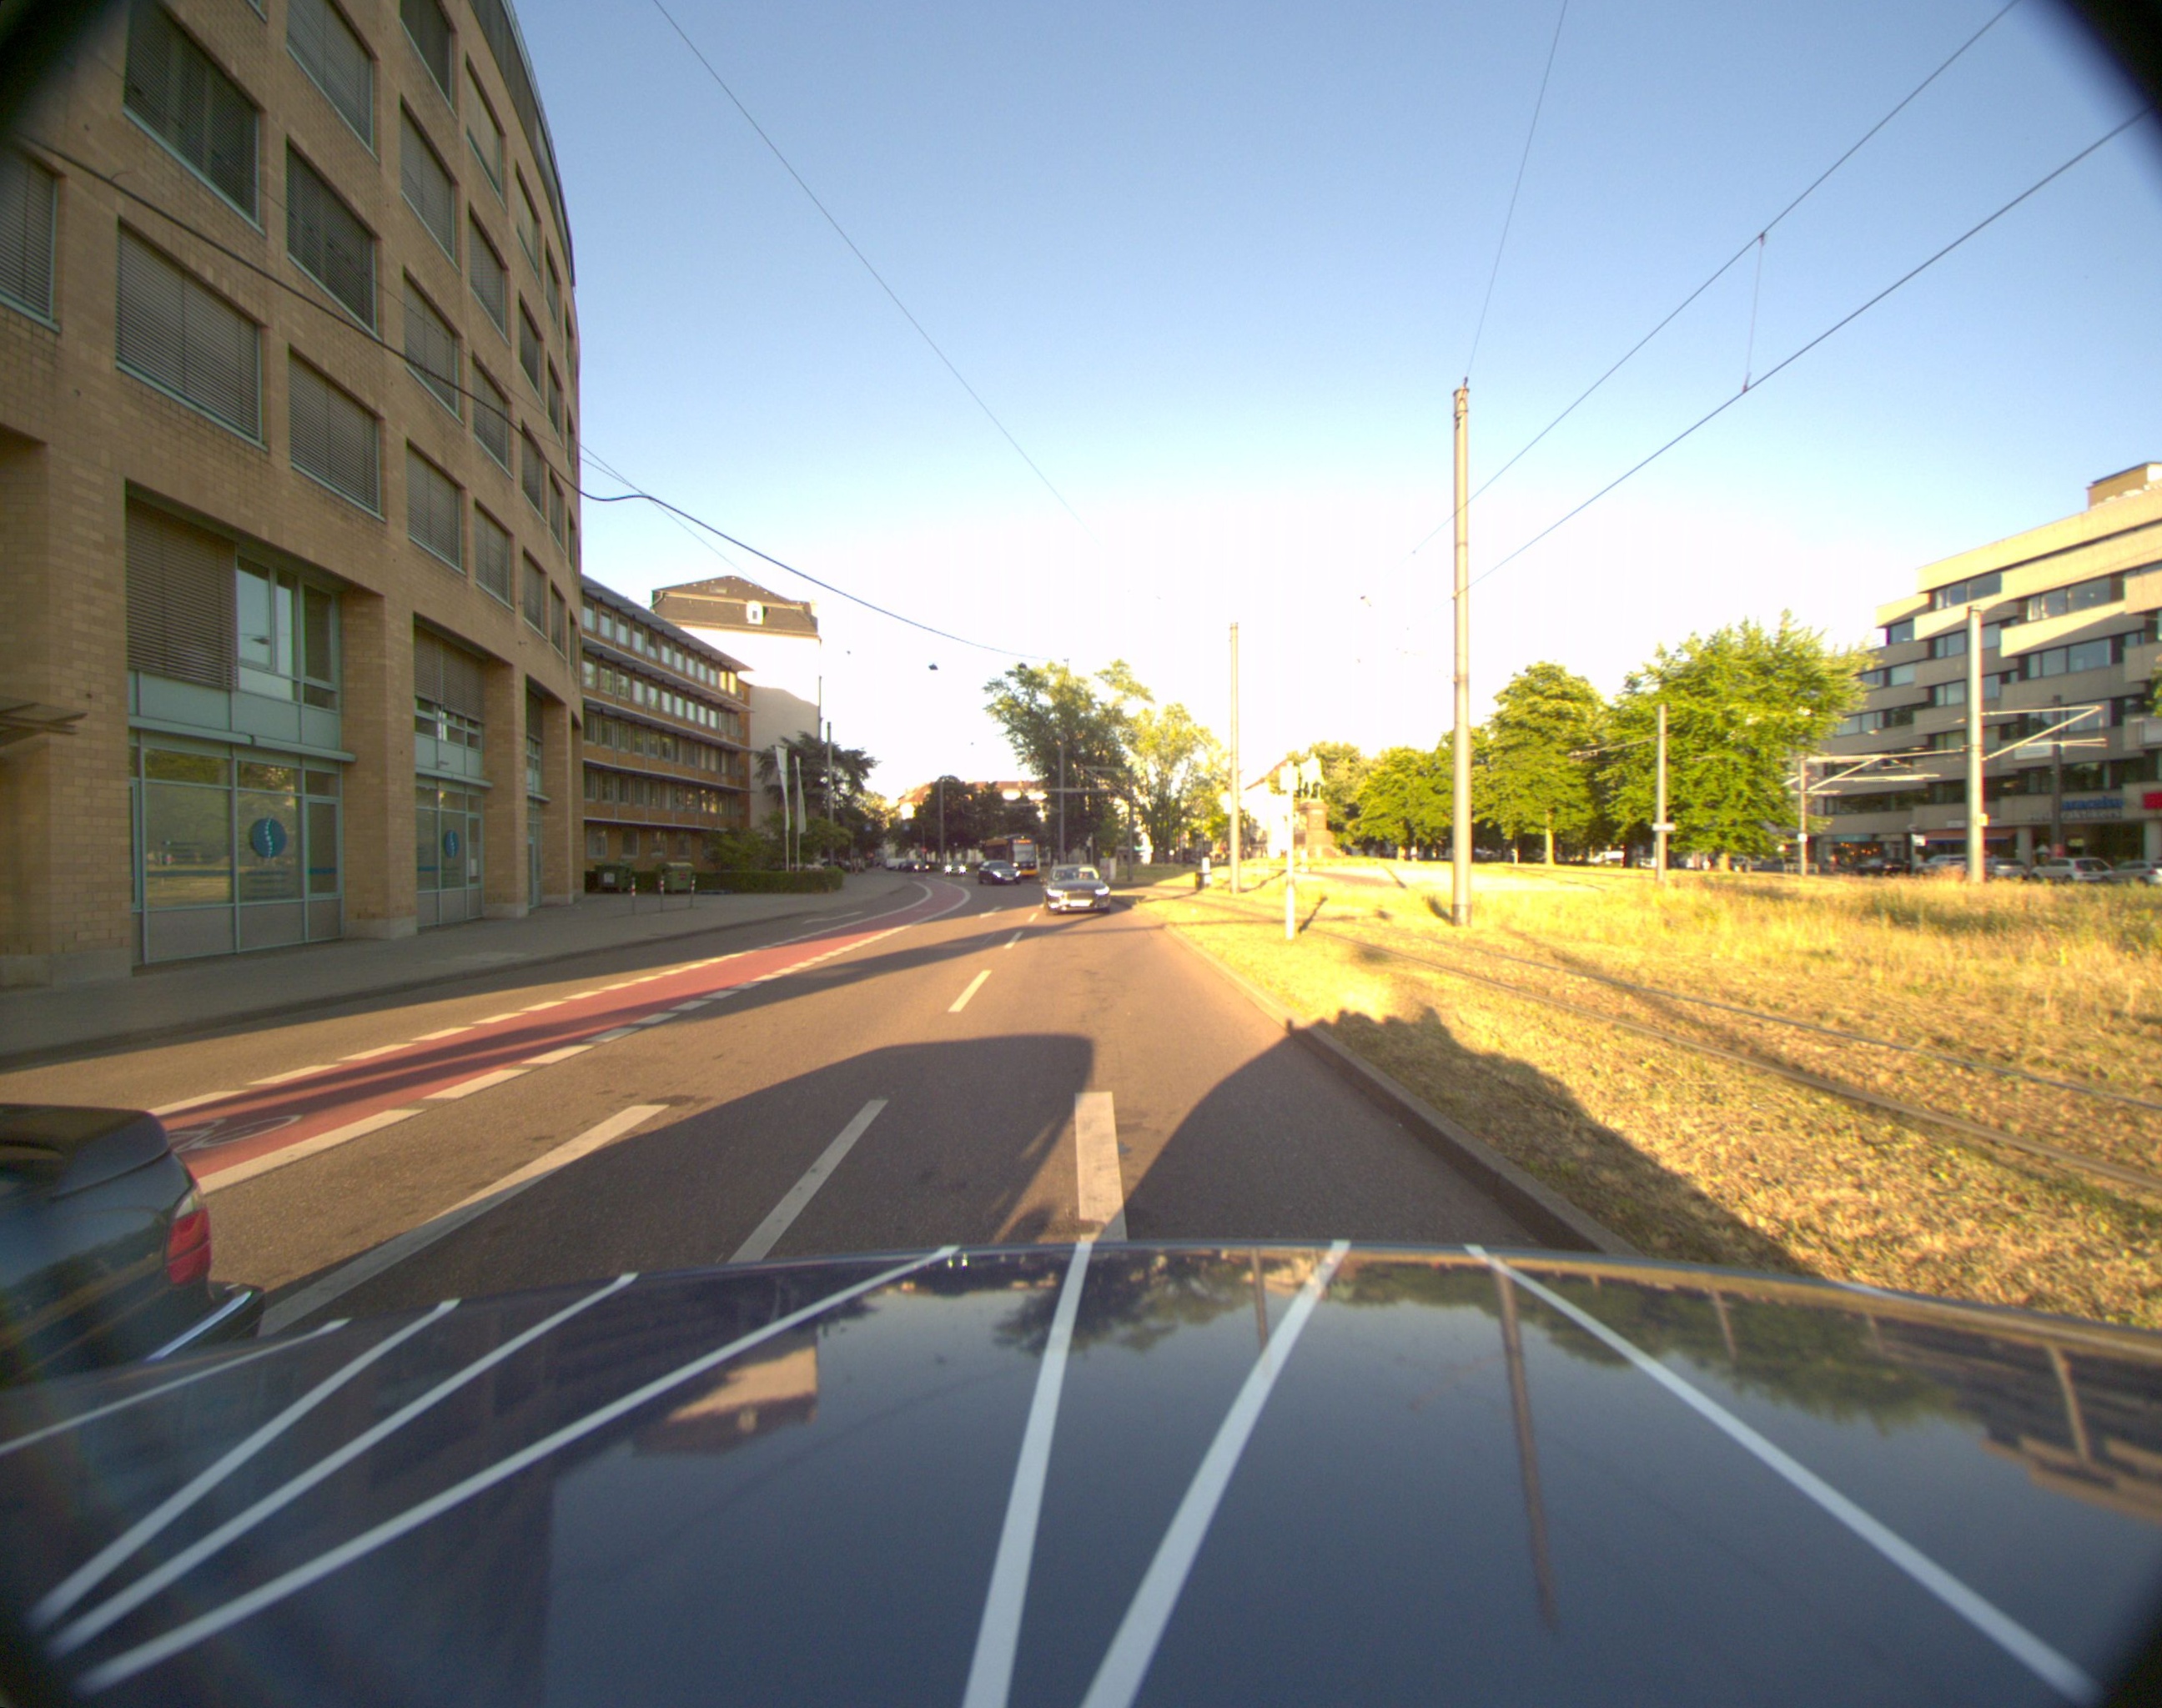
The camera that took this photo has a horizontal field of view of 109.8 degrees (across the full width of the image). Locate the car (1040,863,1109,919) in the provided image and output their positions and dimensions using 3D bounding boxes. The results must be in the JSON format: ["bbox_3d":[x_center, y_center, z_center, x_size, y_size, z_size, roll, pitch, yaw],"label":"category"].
[{"bbox_3d":[-0.126,1.038,23.242,1.890,1.477,4.725,0,0,1],"label":"car"}]

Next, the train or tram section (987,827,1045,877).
[{"bbox_3d":[-5.707,-0.154,63.714,2.919,3.717,13.202,-1,0,-13],"label":"train or tram section"}]

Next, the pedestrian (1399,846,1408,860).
[{"bbox_3d":[36.344,-0.114,85.603,0.711,1.660,0.635,-1,1,1],"label":"pedestrian"}]

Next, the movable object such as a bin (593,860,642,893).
[{"bbox_3d":[-21.187,1.027,34.754,1.427,1.450,1.332,-1,0,-2],"label":"movable object such as a bin"}]

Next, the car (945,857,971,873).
[{"bbox_3d":[-12.152,1.035,74.945,2.001,1.453,4.137,-1,0,-16],"label":"car"}]

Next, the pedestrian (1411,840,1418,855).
[{"bbox_3d":[37.389,-0.719,85.092,0.535,1.684,0.512,-1,1,1],"label":"pedestrian"}]

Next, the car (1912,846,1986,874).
[{"bbox_3d":[61.339,0.380,53.793,1.995,1.925,4.007,-1,0,24],"label":"car"}]

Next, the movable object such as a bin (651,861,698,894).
[{"bbox_3d":[-18.305,1.055,34.244,1.427,1.450,1.332,-1,0,-3],"label":"movable object such as a bin"}]

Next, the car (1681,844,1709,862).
[{"bbox_3d":[72.086,-0.156,89.260,1.995,2.002,4.007,-2,1,32],"label":"car"}]

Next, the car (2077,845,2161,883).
[{"bbox_3d":[54.140,0.494,38.998,1.921,1.853,4.006,-1,0,23],"label":"car"}]

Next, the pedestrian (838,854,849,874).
[{"bbox_3d":[-21.540,0.889,68.958,0.728,1.797,0.724,-1,1,1],"label":"pedestrian"}]

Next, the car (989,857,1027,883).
[{"bbox_3d":[-4.613,1.007,48.484,1.897,1.526,4.705,-1,0,1],"label":"car"}]

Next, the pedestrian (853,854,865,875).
[{"bbox_3d":[-21.112,0.997,72.270,0.912,1.883,1.124,-1,1,-25],"label":"pedestrian"}]

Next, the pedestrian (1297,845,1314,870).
[{"bbox_3d":[15.287,0.229,51.731,0.891,1.718,0.797,-1,1,1],"label":"pedestrian"}]

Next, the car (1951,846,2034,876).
[{"bbox_3d":[58.829,0.433,49.147,1.995,1.868,4.007,0,0,27],"label":"car"}]

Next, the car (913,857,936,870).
[{"bbox_3d":[-18.296,1.140,89.018,1.759,1.379,3.999,-4,0,-1],"label":"car"}]

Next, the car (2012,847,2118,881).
[{"bbox_3d":[56.323,0.557,43.617,1.995,1.868,4.006,-1,0,22],"label":"car"}]
